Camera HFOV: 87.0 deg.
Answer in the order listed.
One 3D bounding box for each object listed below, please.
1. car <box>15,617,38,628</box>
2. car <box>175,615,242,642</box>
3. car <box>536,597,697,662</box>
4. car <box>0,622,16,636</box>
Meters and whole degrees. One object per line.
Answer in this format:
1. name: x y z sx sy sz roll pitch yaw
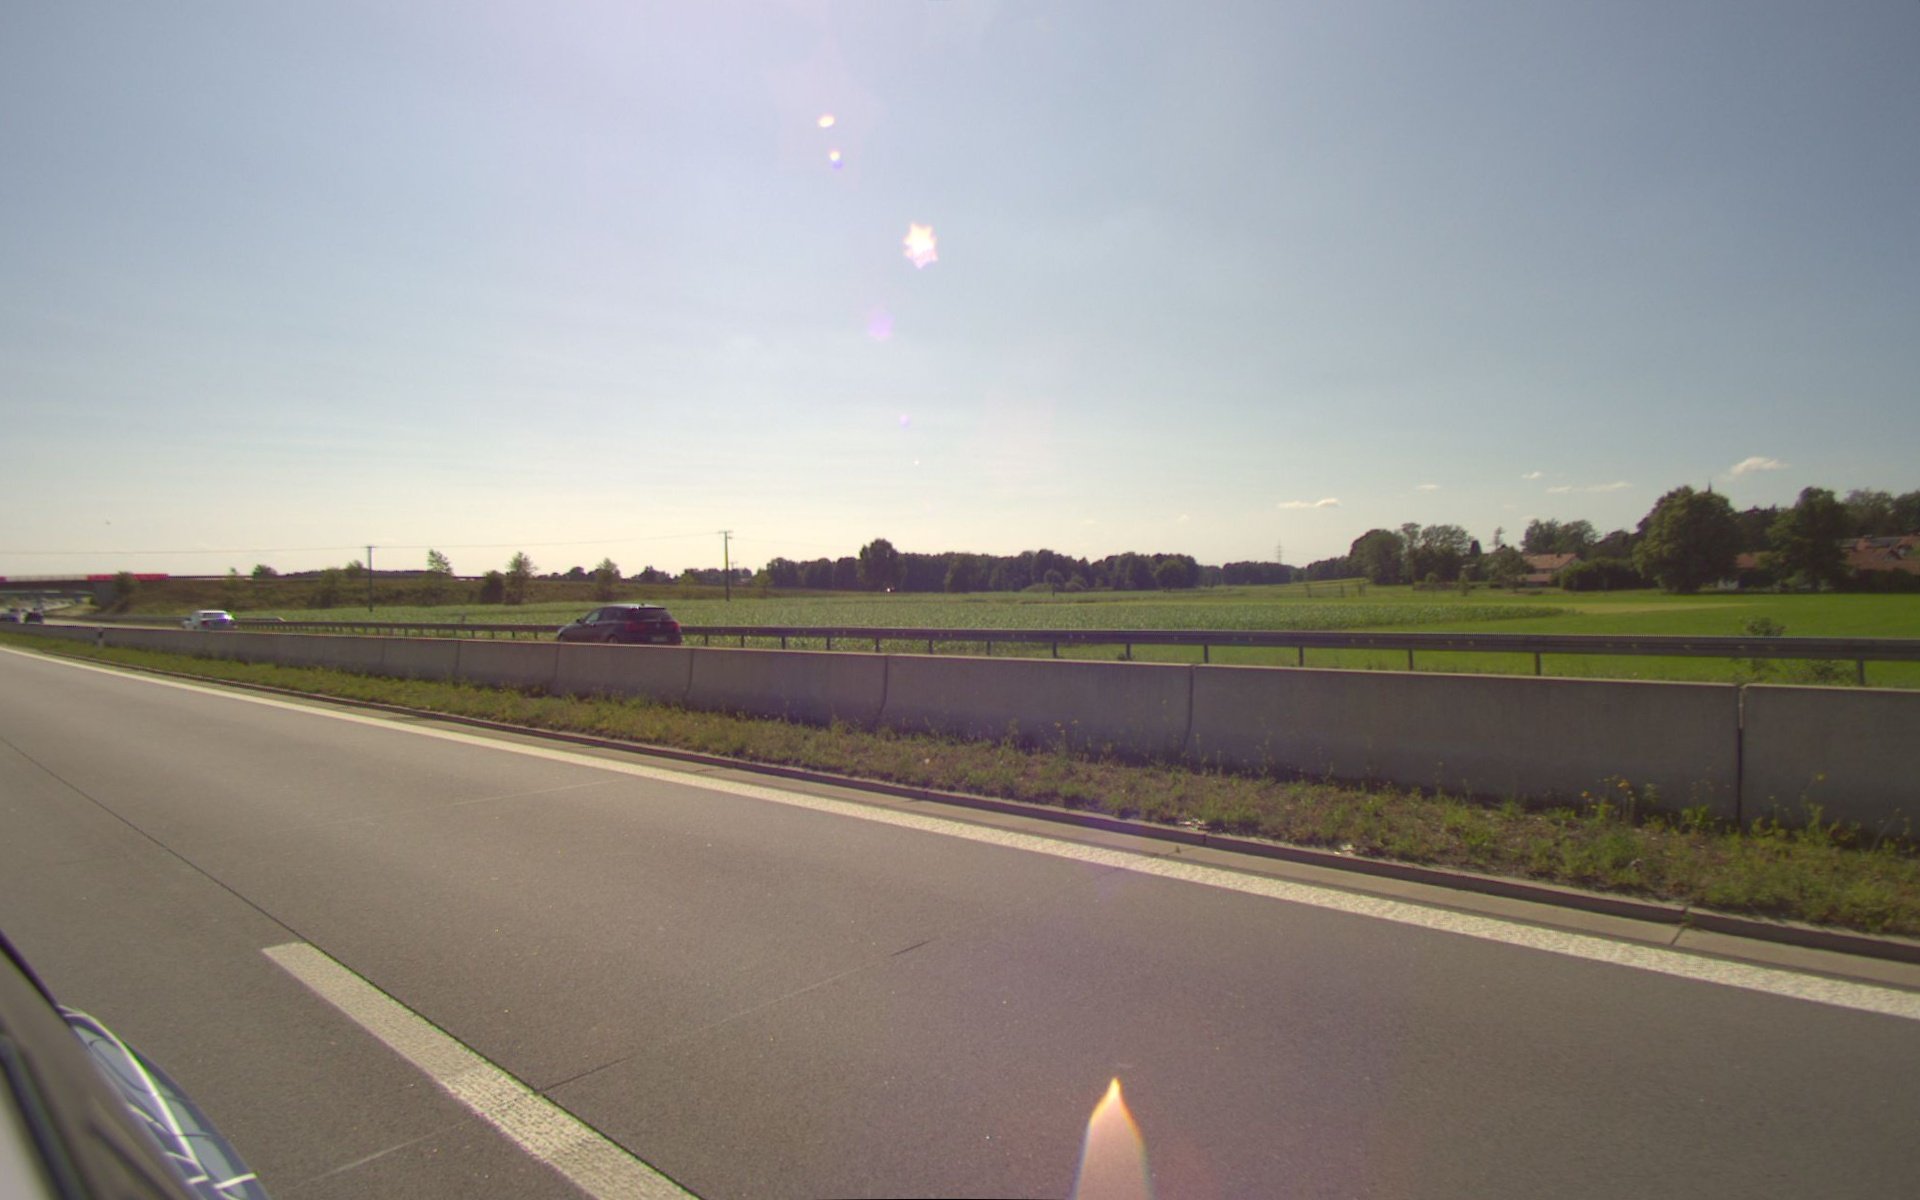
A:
1. car: -119.036 2.912 129.041 4.664 1.375 1.803 -2 -1 44
2. car: -40.702 1.556 54.766 5.292 1.375 1.804 -1 -1 41
3. car: -9.285 0.777 27.152 4.910 1.597 1.839 -1 -1 40
4. car: -100.498 3.022 106.125 4.657 1.375 1.804 -1 -1 41
